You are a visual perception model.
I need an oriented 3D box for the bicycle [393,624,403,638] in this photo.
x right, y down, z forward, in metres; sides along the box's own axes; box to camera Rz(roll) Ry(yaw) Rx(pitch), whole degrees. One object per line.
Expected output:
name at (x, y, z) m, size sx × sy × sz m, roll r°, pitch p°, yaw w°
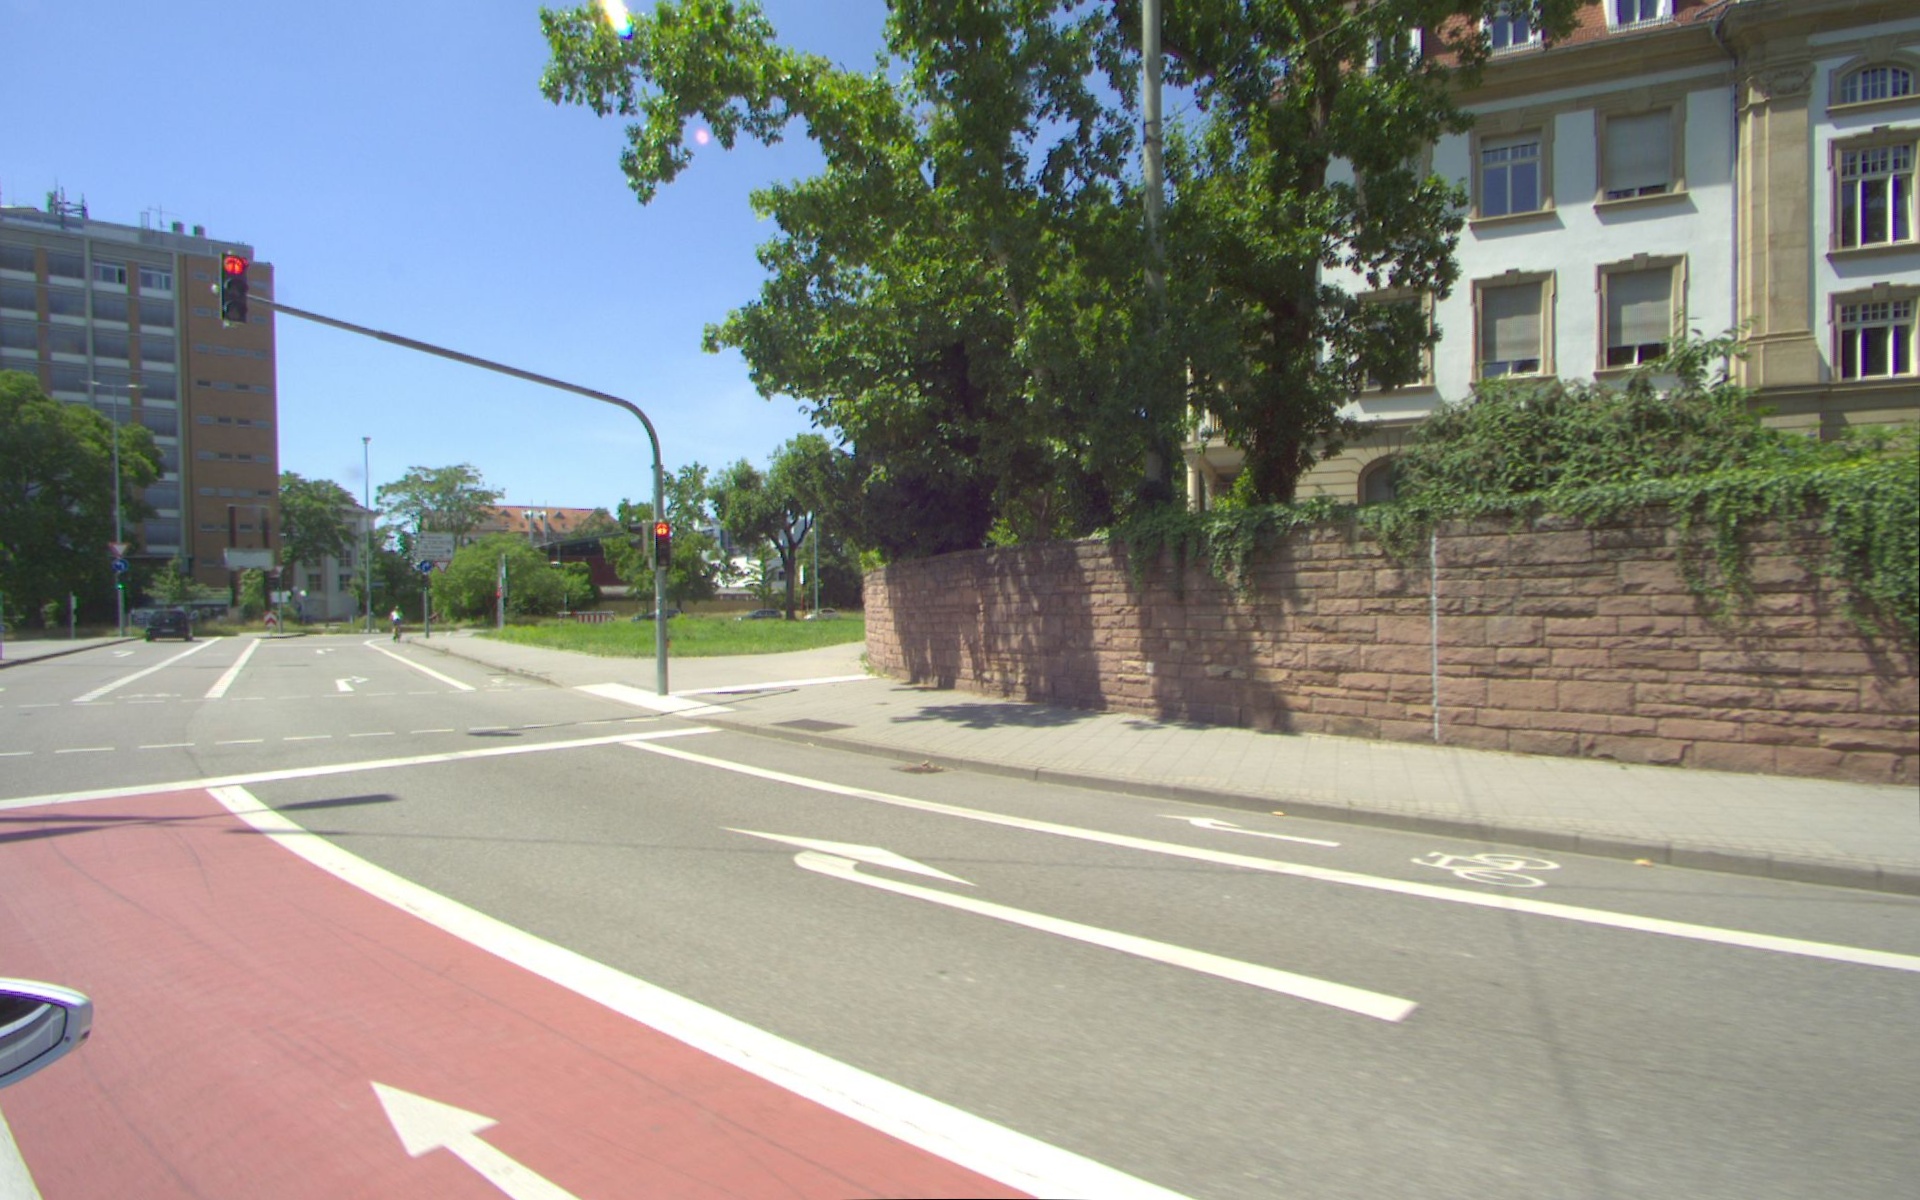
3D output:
bicycle at (-26.802, 1.468, 47.771) m, size 0.372 × 0.654 × 1.636 m, roll -1°, pitch 0°, yaw -28°

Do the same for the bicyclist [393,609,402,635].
bicyclist at (-26.808, 1.041, 47.756) m, size 0.347 × 1.244 × 0.561 m, roll -1°, pitch 1°, yaw -28°

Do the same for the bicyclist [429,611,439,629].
bicyclist at (-43.126, 1.646, 82.104) m, size 0.675 × 1.508 × 0.781 m, roll -1°, pitch 0°, yaw -24°

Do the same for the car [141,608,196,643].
car at (-37.414, 1.182, 47.303) m, size 1.677 × 1.547 × 3.654 m, roll -1°, pitch 1°, yaw -44°

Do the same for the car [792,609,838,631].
car at (-13.319, 1.850, 92.241) m, size 3.944 × 1.895 × 1.462 m, roll -1°, pitch -1°, yaw -32°

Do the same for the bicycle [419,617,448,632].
bicycle at (-43.164, 1.986, 82.103) m, size 1.980 × 1.150 × 0.572 m, roll -1°, pitch 0°, yaw -23°

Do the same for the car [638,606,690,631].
car at (-24.815, 1.523, 84.012) m, size 3.944 × 2.040 × 1.462 m, roll -1°, pitch -1°, yaw -32°

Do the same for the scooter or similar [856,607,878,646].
scooter or similar at (-2.870, 0.807, 31.033) m, size 0.269 × 1.178 × 1.466 m, roll -1°, pitch -1°, yaw 10°
